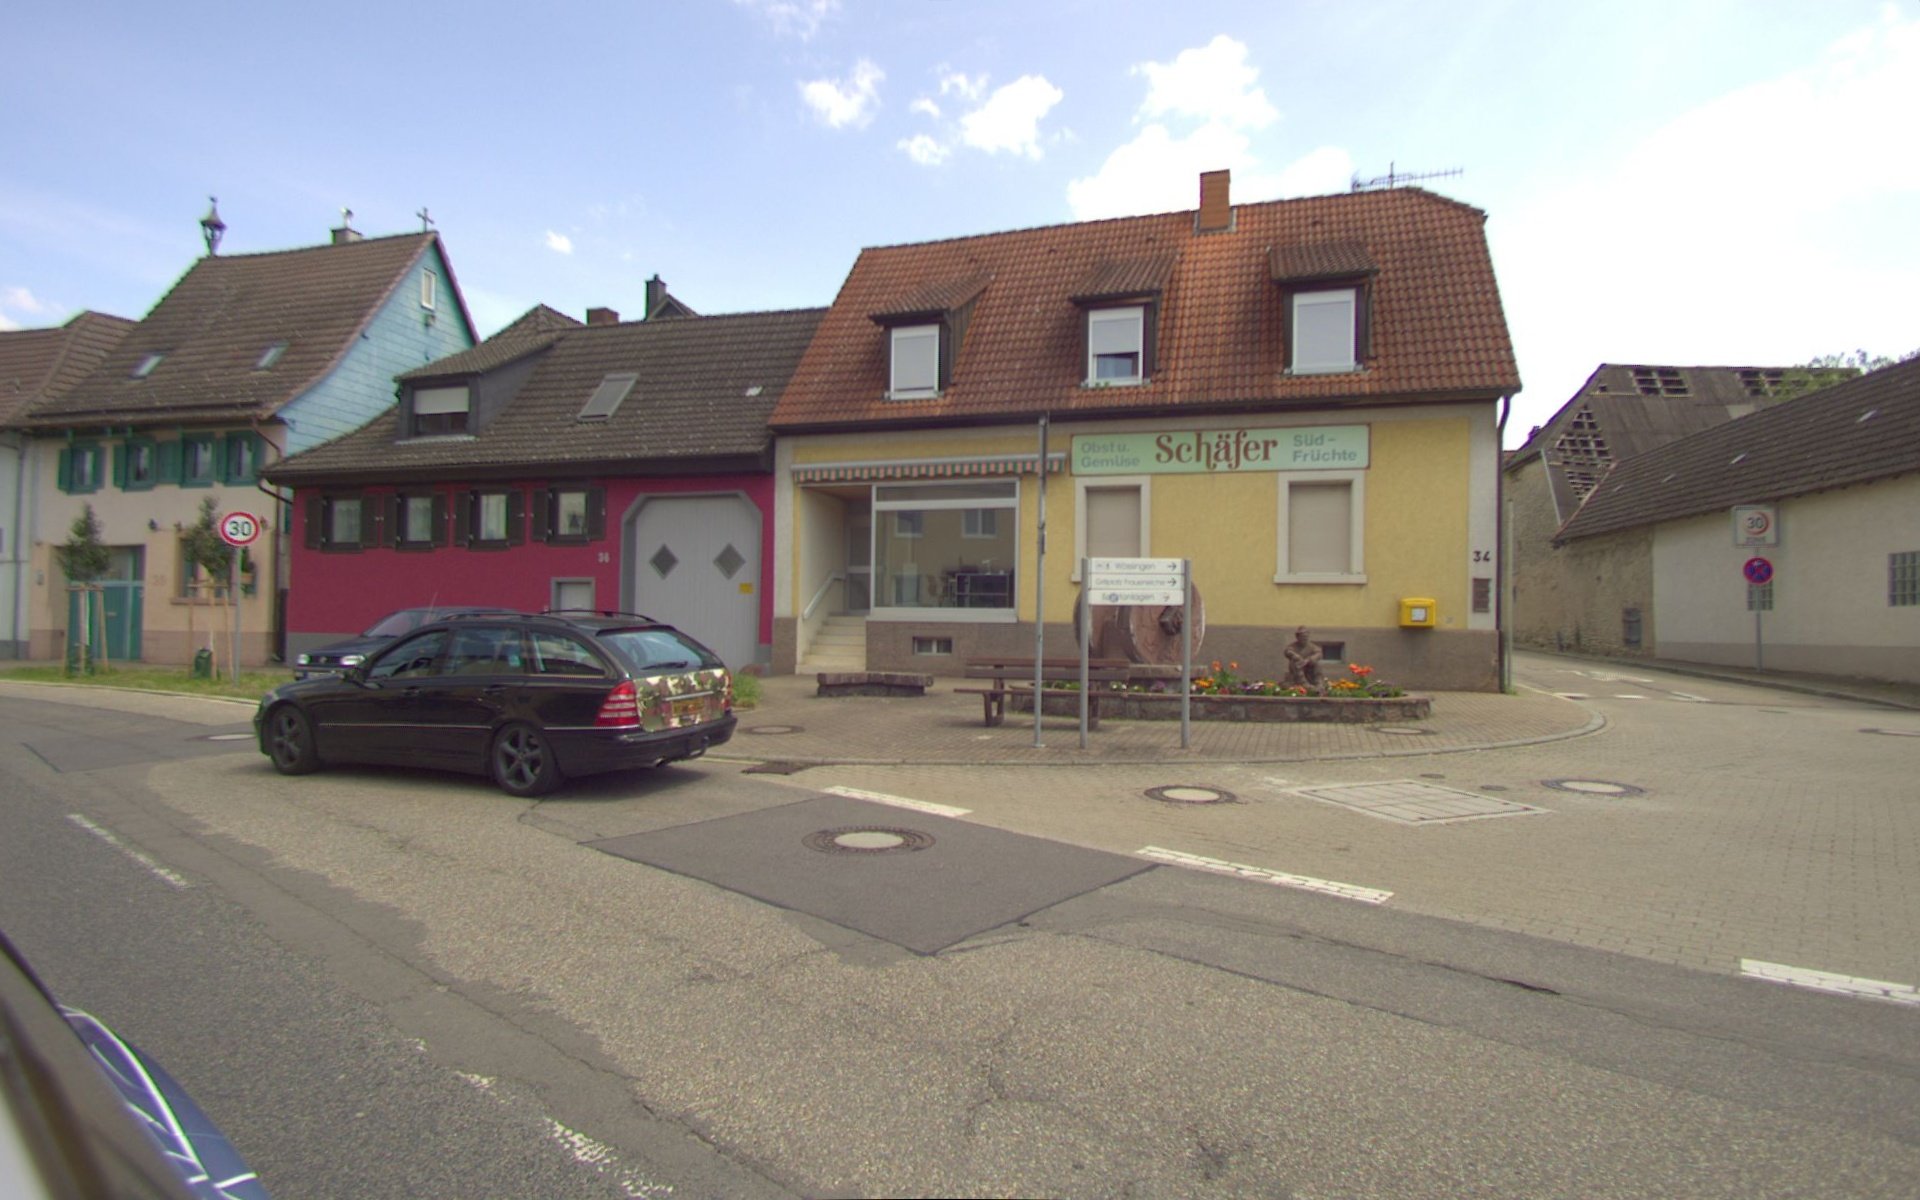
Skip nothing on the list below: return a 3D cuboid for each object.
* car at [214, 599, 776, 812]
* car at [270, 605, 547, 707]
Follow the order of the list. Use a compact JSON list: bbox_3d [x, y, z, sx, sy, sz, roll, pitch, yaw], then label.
[{"bbox_3d":[-4.091,0.758,8.898,4.603,1.422,1.801,1,0,21],"label":"car"},{"bbox_3d":[-8.965,0.823,16.840,1.708,1.475,3.954,0,0,19],"label":"car"}]
